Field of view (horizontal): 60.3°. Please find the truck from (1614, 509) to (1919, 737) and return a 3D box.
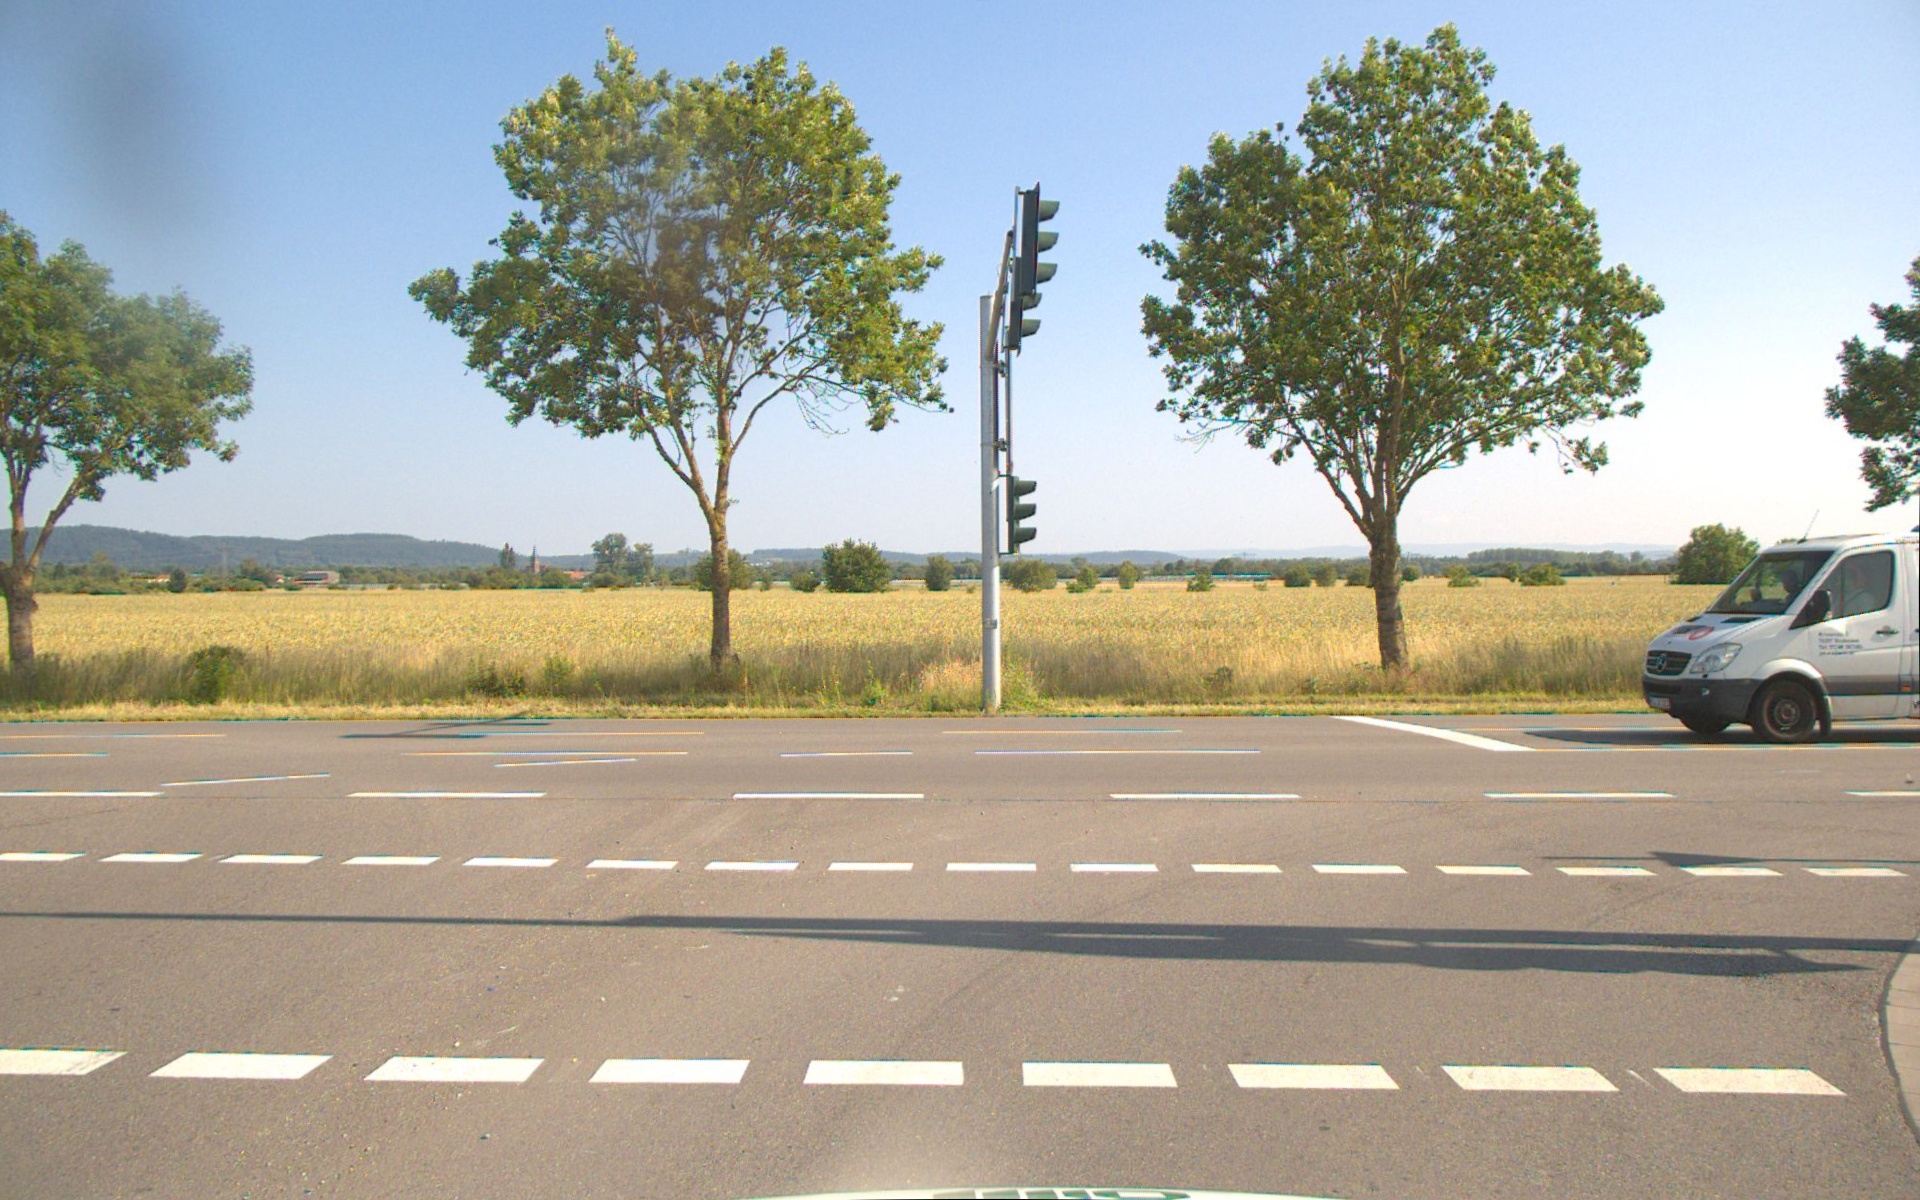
[{"bbox_3d":[10.938,0.242,18.973,6.053,2.447,2.070,0,-1,-2],"label":"truck"}]
